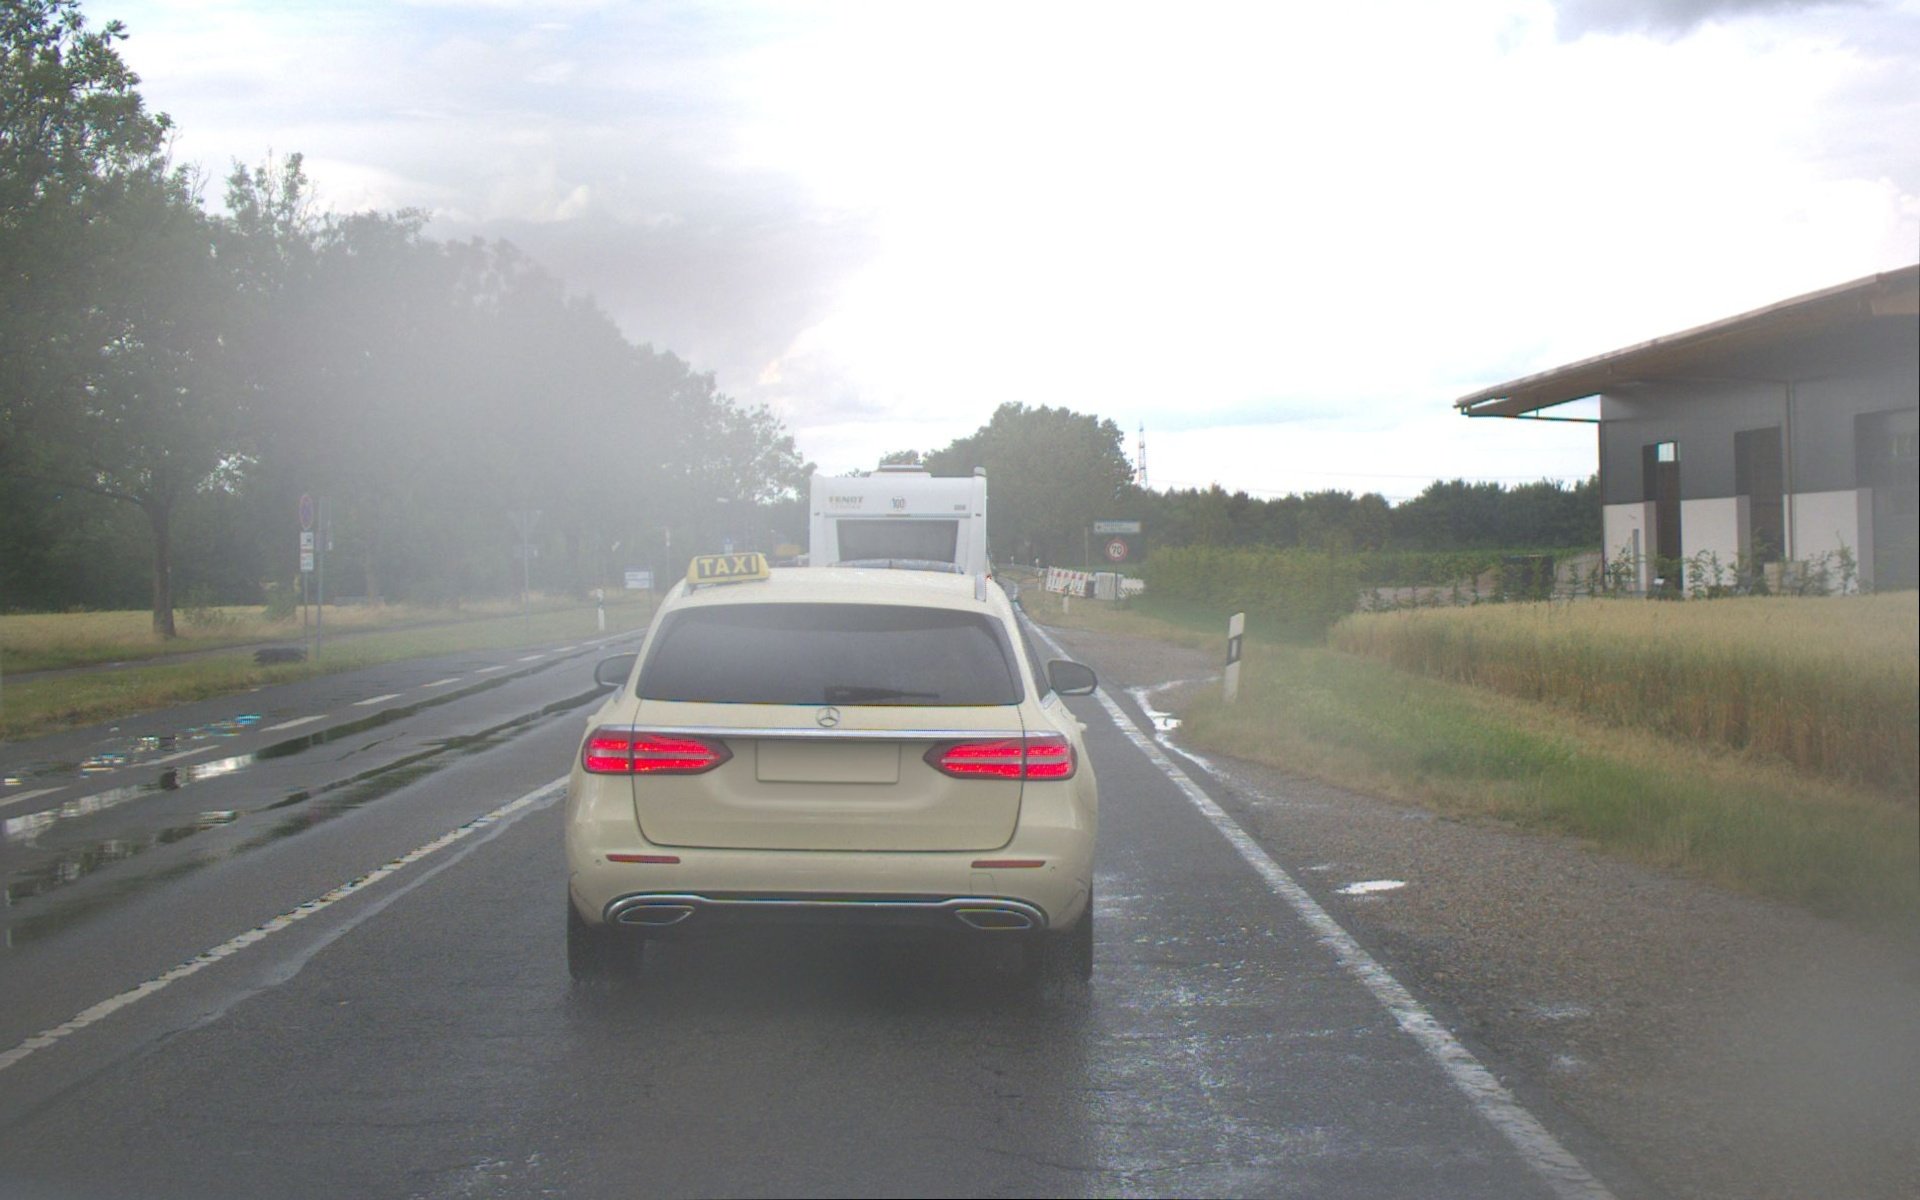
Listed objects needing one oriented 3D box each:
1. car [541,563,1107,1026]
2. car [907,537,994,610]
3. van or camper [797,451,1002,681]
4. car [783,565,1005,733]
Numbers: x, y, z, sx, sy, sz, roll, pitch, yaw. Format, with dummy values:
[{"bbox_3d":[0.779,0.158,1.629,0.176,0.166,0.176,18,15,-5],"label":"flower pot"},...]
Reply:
[{"bbox_3d":[-0.425,0.597,12.949,1.797,1.459,4.031,0,1,0],"label":"car"},{"bbox_3d":[-0.210,-0.611,76.976,1.894,1.585,3.928,0,1,0],"label":"car"},{"bbox_3d":[-0.728,-0.465,46.339,2.497,2.821,5.934,-2,1,1],"label":"van or camper"},{"bbox_3d":[-0.590,0.400,31.421,1.894,1.424,3.928,0,1,-1],"label":"car"}]
